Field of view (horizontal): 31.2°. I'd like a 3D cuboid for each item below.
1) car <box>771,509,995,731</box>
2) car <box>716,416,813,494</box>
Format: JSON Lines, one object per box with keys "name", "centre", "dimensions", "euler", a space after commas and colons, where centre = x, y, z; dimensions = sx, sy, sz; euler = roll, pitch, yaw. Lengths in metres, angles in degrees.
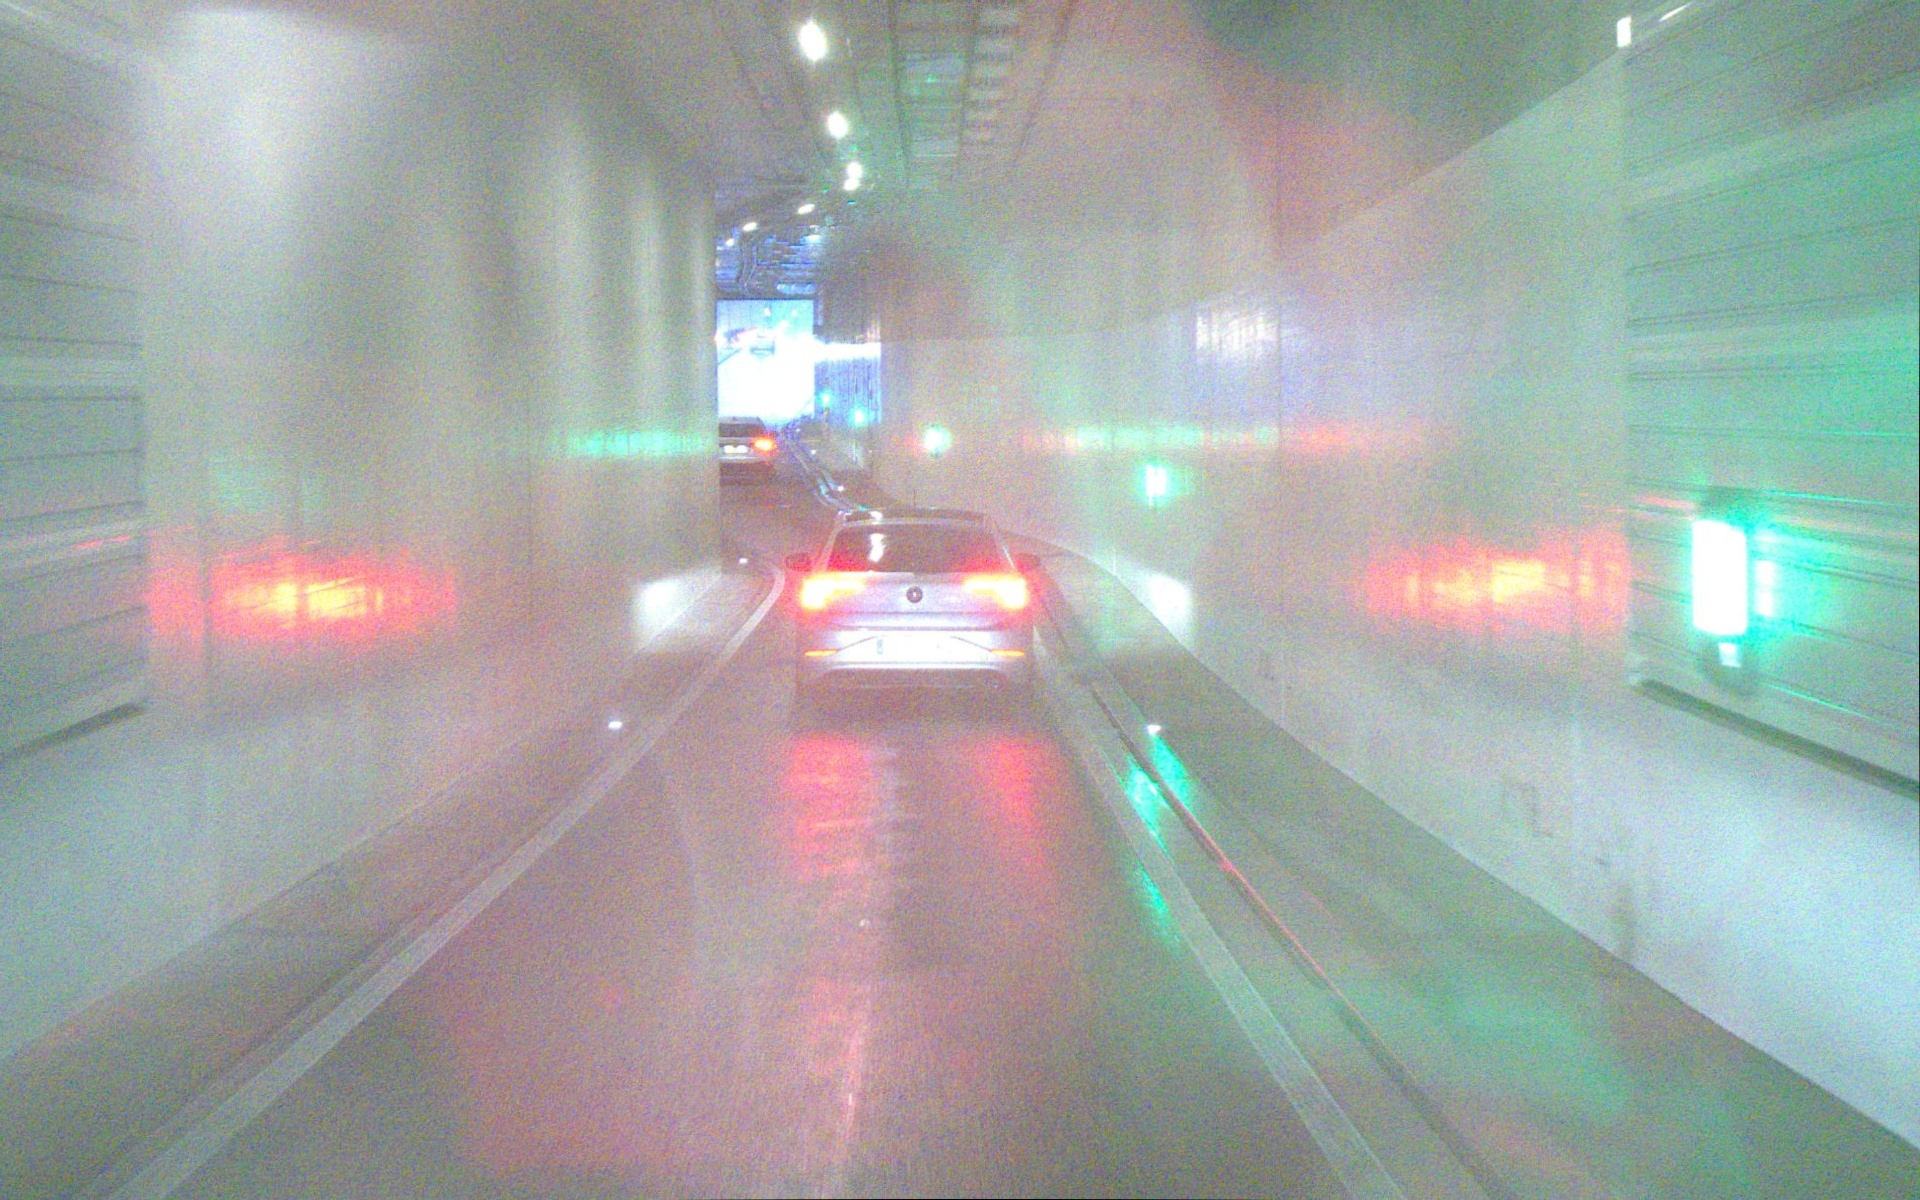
{"name": "car", "centre": [-0.562, 0.095, 25.720], "dimensions": [1.532, 1.392, 3.435], "euler": [1, 4, -1]}
{"name": "car", "centre": [-4.328, -3.197, 75.626], "dimensions": [1.880, 1.615, 4.001], "euler": [1, 2, -6]}
